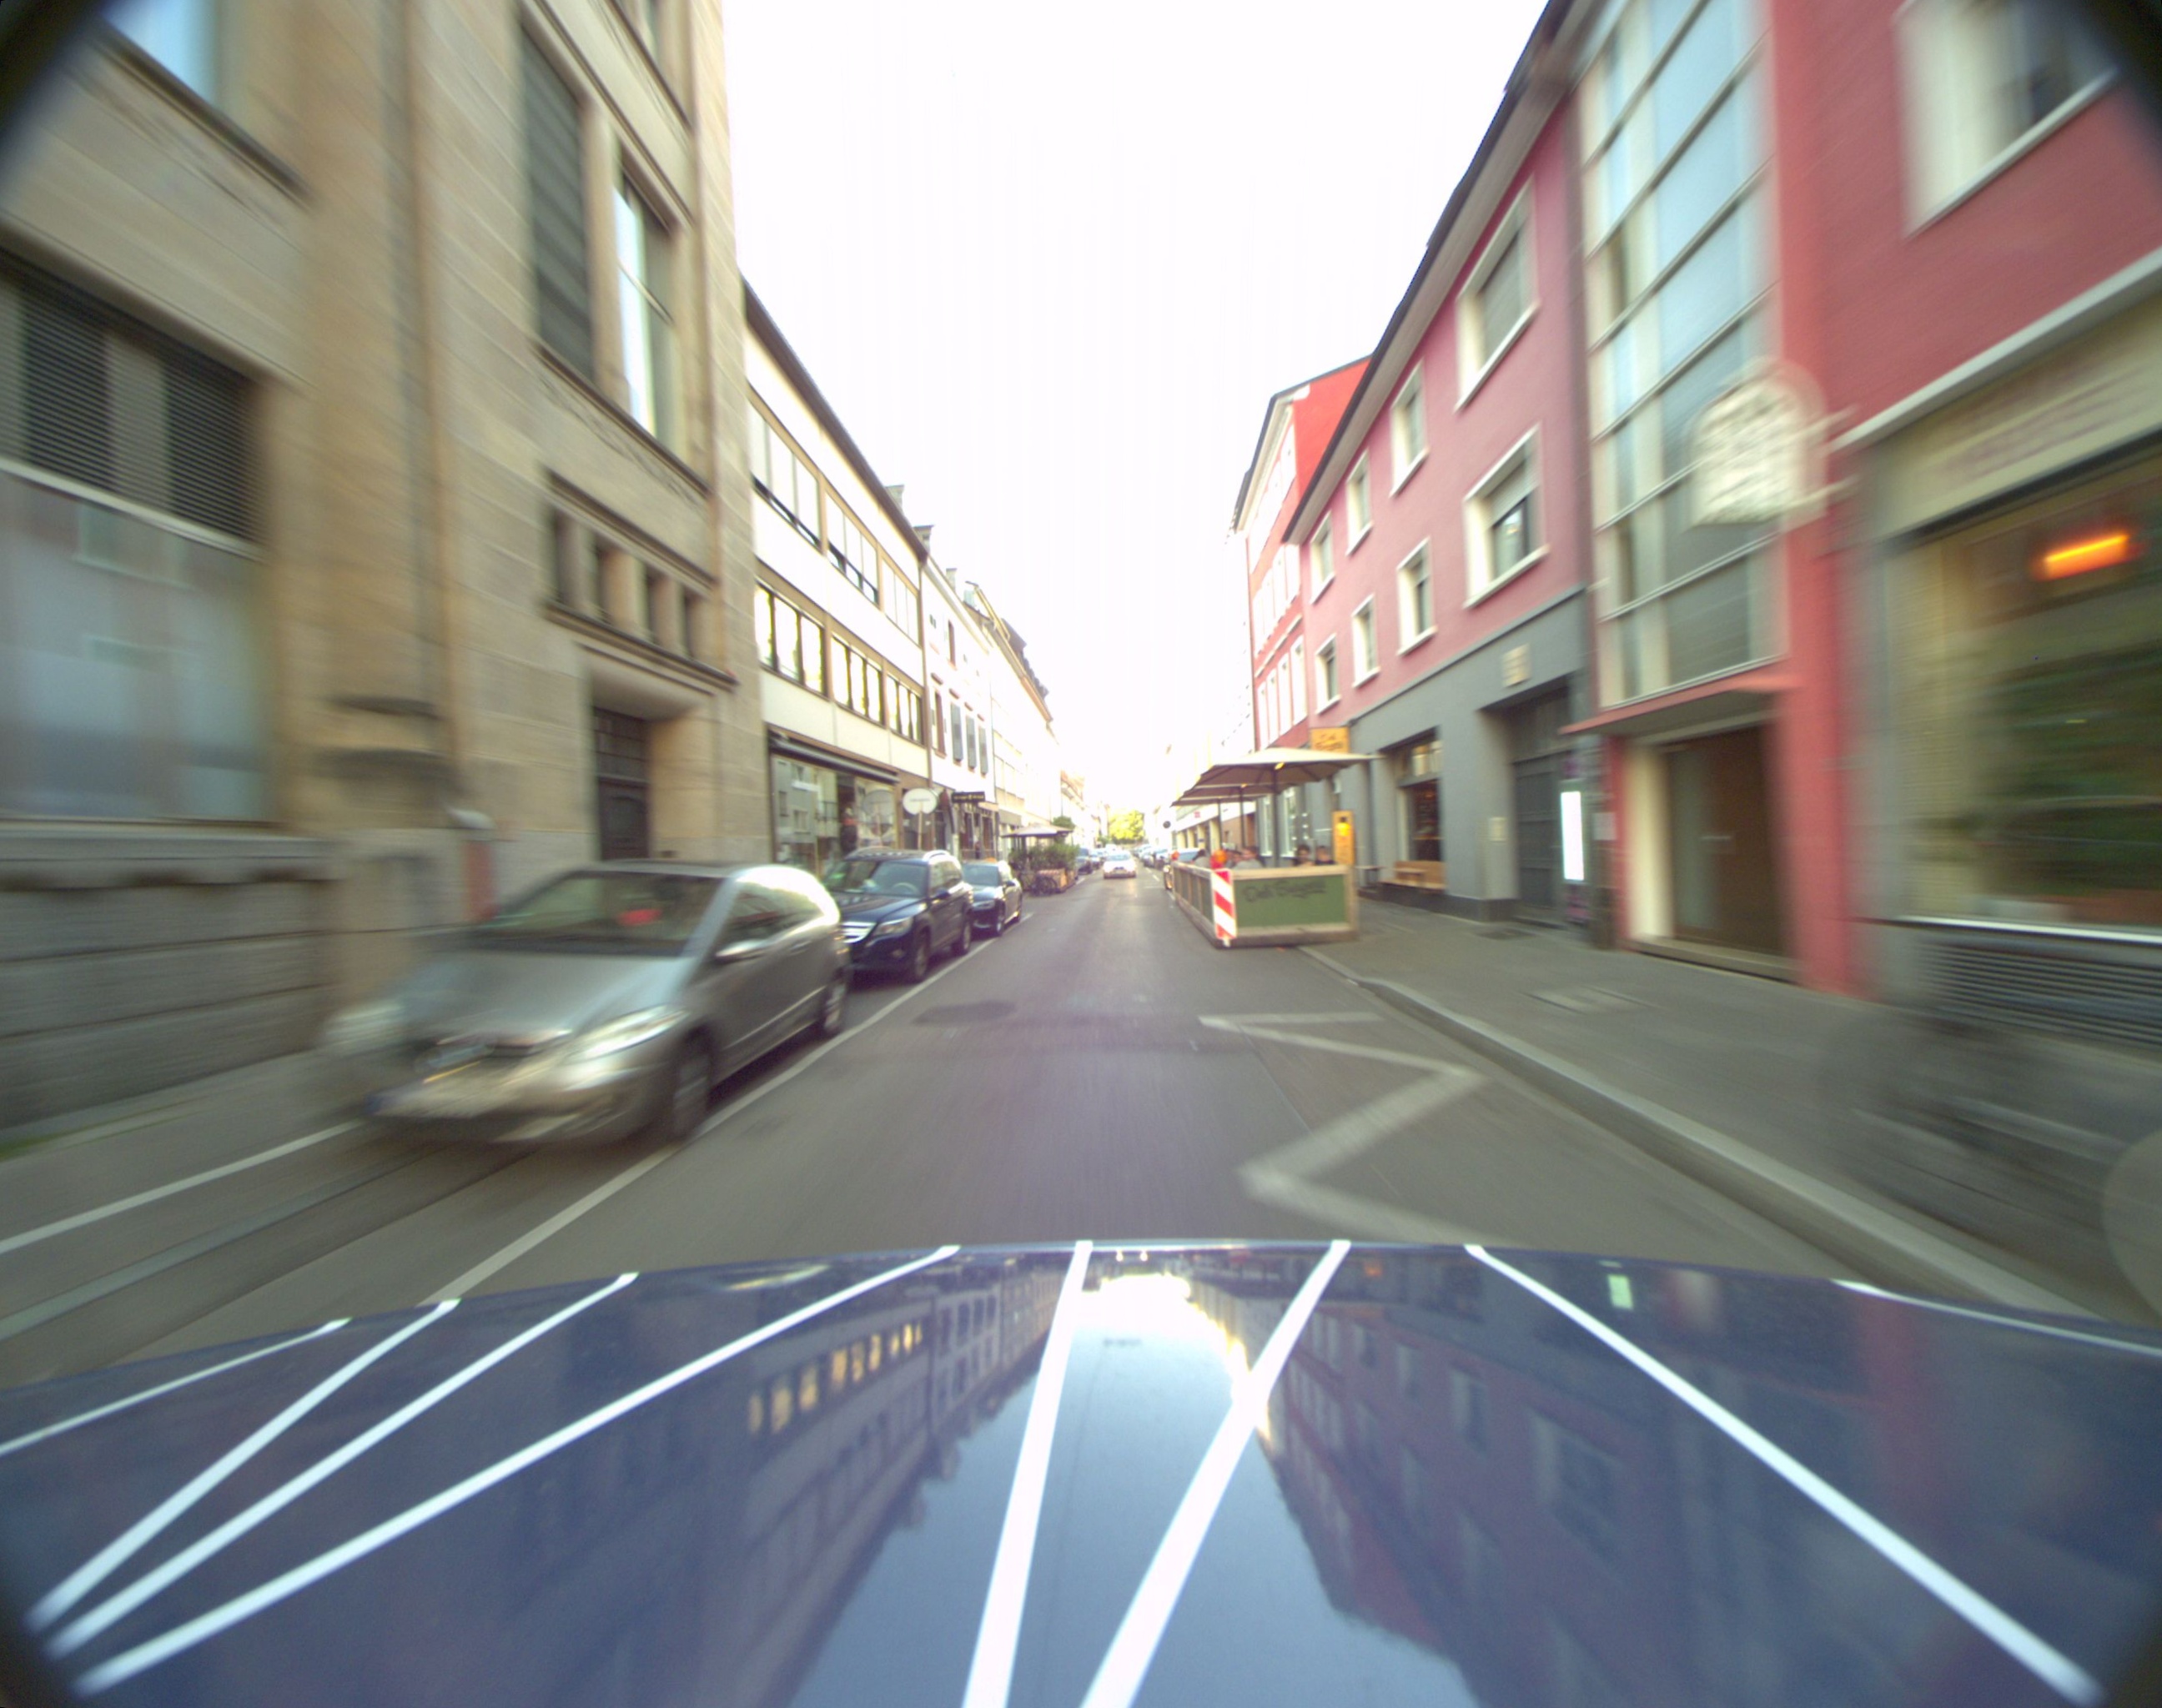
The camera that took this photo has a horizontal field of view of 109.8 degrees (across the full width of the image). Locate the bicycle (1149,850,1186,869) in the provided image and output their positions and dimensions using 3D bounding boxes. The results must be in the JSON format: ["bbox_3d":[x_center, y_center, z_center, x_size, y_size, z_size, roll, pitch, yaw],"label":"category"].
[{"bbox_3d":[5.984,0.369,52.430,2.480,1.172,0.784,-3,1,9],"label":"bicycle"}]

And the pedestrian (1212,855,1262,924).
[{"bbox_3d":[2.530,0.561,12.367,0.612,1.056,0.547,-4,1,-4],"label":"pedestrian"}]

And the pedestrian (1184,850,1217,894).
[{"bbox_3d":[3.019,0.445,19.274,0.673,1.056,0.547,-4,1,-4],"label":"pedestrian"}]

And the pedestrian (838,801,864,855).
[{"bbox_3d":[-5.874,-0.656,19.403,0.437,1.342,0.424,-3,2,1],"label":"pedestrian"}]

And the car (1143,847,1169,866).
[{"bbox_3d":[6.518,0.204,66.677,1.998,1.462,4.459,-3,0,3],"label":"car"}]

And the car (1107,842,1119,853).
[{"bbox_3d":[5.975,-1.250,142.500,1.998,1.884,4.459,-3,0,3],"label":"car"}]

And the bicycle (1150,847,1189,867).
[{"bbox_3d":[5.922,0.198,50.597,2.480,1.172,0.784,-3,1,9],"label":"bicycle"}]

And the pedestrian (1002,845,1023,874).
[{"bbox_3d":[-3.047,0.258,33.744,0.736,1.236,0.646,-3,1,5],"label":"pedestrian"}]

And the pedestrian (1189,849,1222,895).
[{"bbox_3d":[3.034,0.435,18.564,0.634,1.061,0.560,-4,1,-4],"label":"pedestrian"}]

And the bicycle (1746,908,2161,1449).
[{"bbox_3d":[2.850,0.821,2.043,0.545,1.185,1.842,-3,0,3],"label":"bicycle"}]

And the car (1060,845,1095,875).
[{"bbox_3d":[-0.185,0.377,50.537,1.998,1.835,4.001,-3,0,3],"label":"car"}]

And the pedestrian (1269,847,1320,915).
[{"bbox_3d":[3.534,0.435,12.582,0.612,1.056,0.547,-4,1,-4],"label":"pedestrian"}]

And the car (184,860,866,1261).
[{"bbox_3d":[-3.043,0.943,5.390,1.778,1.656,4.000,-3,1,1],"label":"car"}]

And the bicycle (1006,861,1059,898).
[{"bbox_3d":[-1.755,0.916,27.613,1.873,1.295,0.596,1,1,4],"label":"bicycle"}]

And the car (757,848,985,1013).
[{"bbox_3d":[-2.690,0.872,10.864,1.674,1.796,4.240,-4,0,4],"label":"car"}]

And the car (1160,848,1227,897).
[{"bbox_3d":[3.814,0.580,26.370,1.722,1.452,4.135,-3,0,2],"label":"car"}]

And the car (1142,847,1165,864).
[{"bbox_3d":[6.907,0.090,72.522,1.998,1.462,4.459,-3,0,3],"label":"car"}]

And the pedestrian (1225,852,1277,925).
[{"bbox_3d":[2.618,0.523,11.736,0.612,1.056,0.547,-4,1,-4],"label":"pedestrian"}]

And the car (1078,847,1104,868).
[{"bbox_3d":[0.914,0.301,66.358,1.998,1.667,4.459,-3,0,3],"label":"car"}]

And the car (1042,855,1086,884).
[{"bbox_3d":[-0.830,0.783,40.429,1.939,1.288,4.001,-3,0,3],"label":"car"}]

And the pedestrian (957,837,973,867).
[{"bbox_3d":[-4.855,-0.091,31.851,0.467,1.236,0.610,-2,2,3],"label":"pedestrian"}]

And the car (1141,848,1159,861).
[{"bbox_3d":[8.492,0.044,93.950,1.998,1.462,4.459,-3,0,3],"label":"car"}]

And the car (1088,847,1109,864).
[{"bbox_3d":[1.910,0.096,81.305,1.998,1.667,4.459,-3,0,3],"label":"car"}]

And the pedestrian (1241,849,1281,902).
[{"bbox_3d":[3.728,0.434,15.762,0.603,1.056,0.547,-4,1,-4],"label":"pedestrian"}]

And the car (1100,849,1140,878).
[{"bbox_3d":[2.191,0.483,41.960,1.998,1.414,4.459,-3,0,3],"label":"car"}]

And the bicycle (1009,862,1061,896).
[{"bbox_3d":[-1.711,0.922,28.295,1.873,1.221,0.596,1,1,4],"label":"bicycle"}]

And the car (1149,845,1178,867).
[{"bbox_3d":[6.561,0.135,61.049,1.998,1.667,4.459,-3,0,3],"label":"car"}]

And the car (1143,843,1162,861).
[{"bbox_3d":[8.358,-0.258,88.720,1.998,2.030,4.459,-3,0,3],"label":"car"}]

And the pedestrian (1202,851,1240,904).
[{"bbox_3d":[2.947,0.477,15.975,0.612,1.056,0.547,-4,1,-4],"label":"pedestrian"}]

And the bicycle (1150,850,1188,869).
[{"bbox_3d":[5.977,0.370,51.526,2.480,1.172,0.784,-3,1,9],"label":"bicycle"}]

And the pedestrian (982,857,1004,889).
[{"bbox_3d":[-3.556,0.763,30.683,0.736,1.236,0.646,-2,2,3],"label":"pedestrian"}]

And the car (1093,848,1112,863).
[{"bbox_3d":[2.616,0.174,92.265,1.998,1.667,4.459,-3,0,3],"label":"car"}]

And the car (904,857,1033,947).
[{"bbox_3d":[-2.225,0.897,16.468,1.693,1.507,4.991,-3,0,3],"label":"car"}]

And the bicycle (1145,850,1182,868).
[{"bbox_3d":[5.934,0.355,54.634,2.480,1.172,0.784,-3,1,9],"label":"bicycle"}]

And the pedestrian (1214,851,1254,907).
[{"bbox_3d":[3.043,0.485,15.164,0.612,1.056,0.547,-4,1,-4],"label":"pedestrian"}]

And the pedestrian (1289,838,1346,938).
[{"bbox_3d":[3.619,0.507,11.654,0.612,1.464,0.547,-4,1,-4],"label":"pedestrian"}]

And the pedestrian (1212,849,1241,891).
[{"bbox_3d":[3.716,0.399,19.429,0.559,1.031,0.492,-4,1,-4],"label":"pedestrian"}]

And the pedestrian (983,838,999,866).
[{"bbox_3d":[-4.116,-0.086,34.651,0.566,1.236,0.610,-2,2,3],"label":"pedestrian"}]

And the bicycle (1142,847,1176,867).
[{"bbox_3d":[5.923,0.217,57.506,2.480,1.322,0.784,-3,1,9],"label":"bicycle"}]
